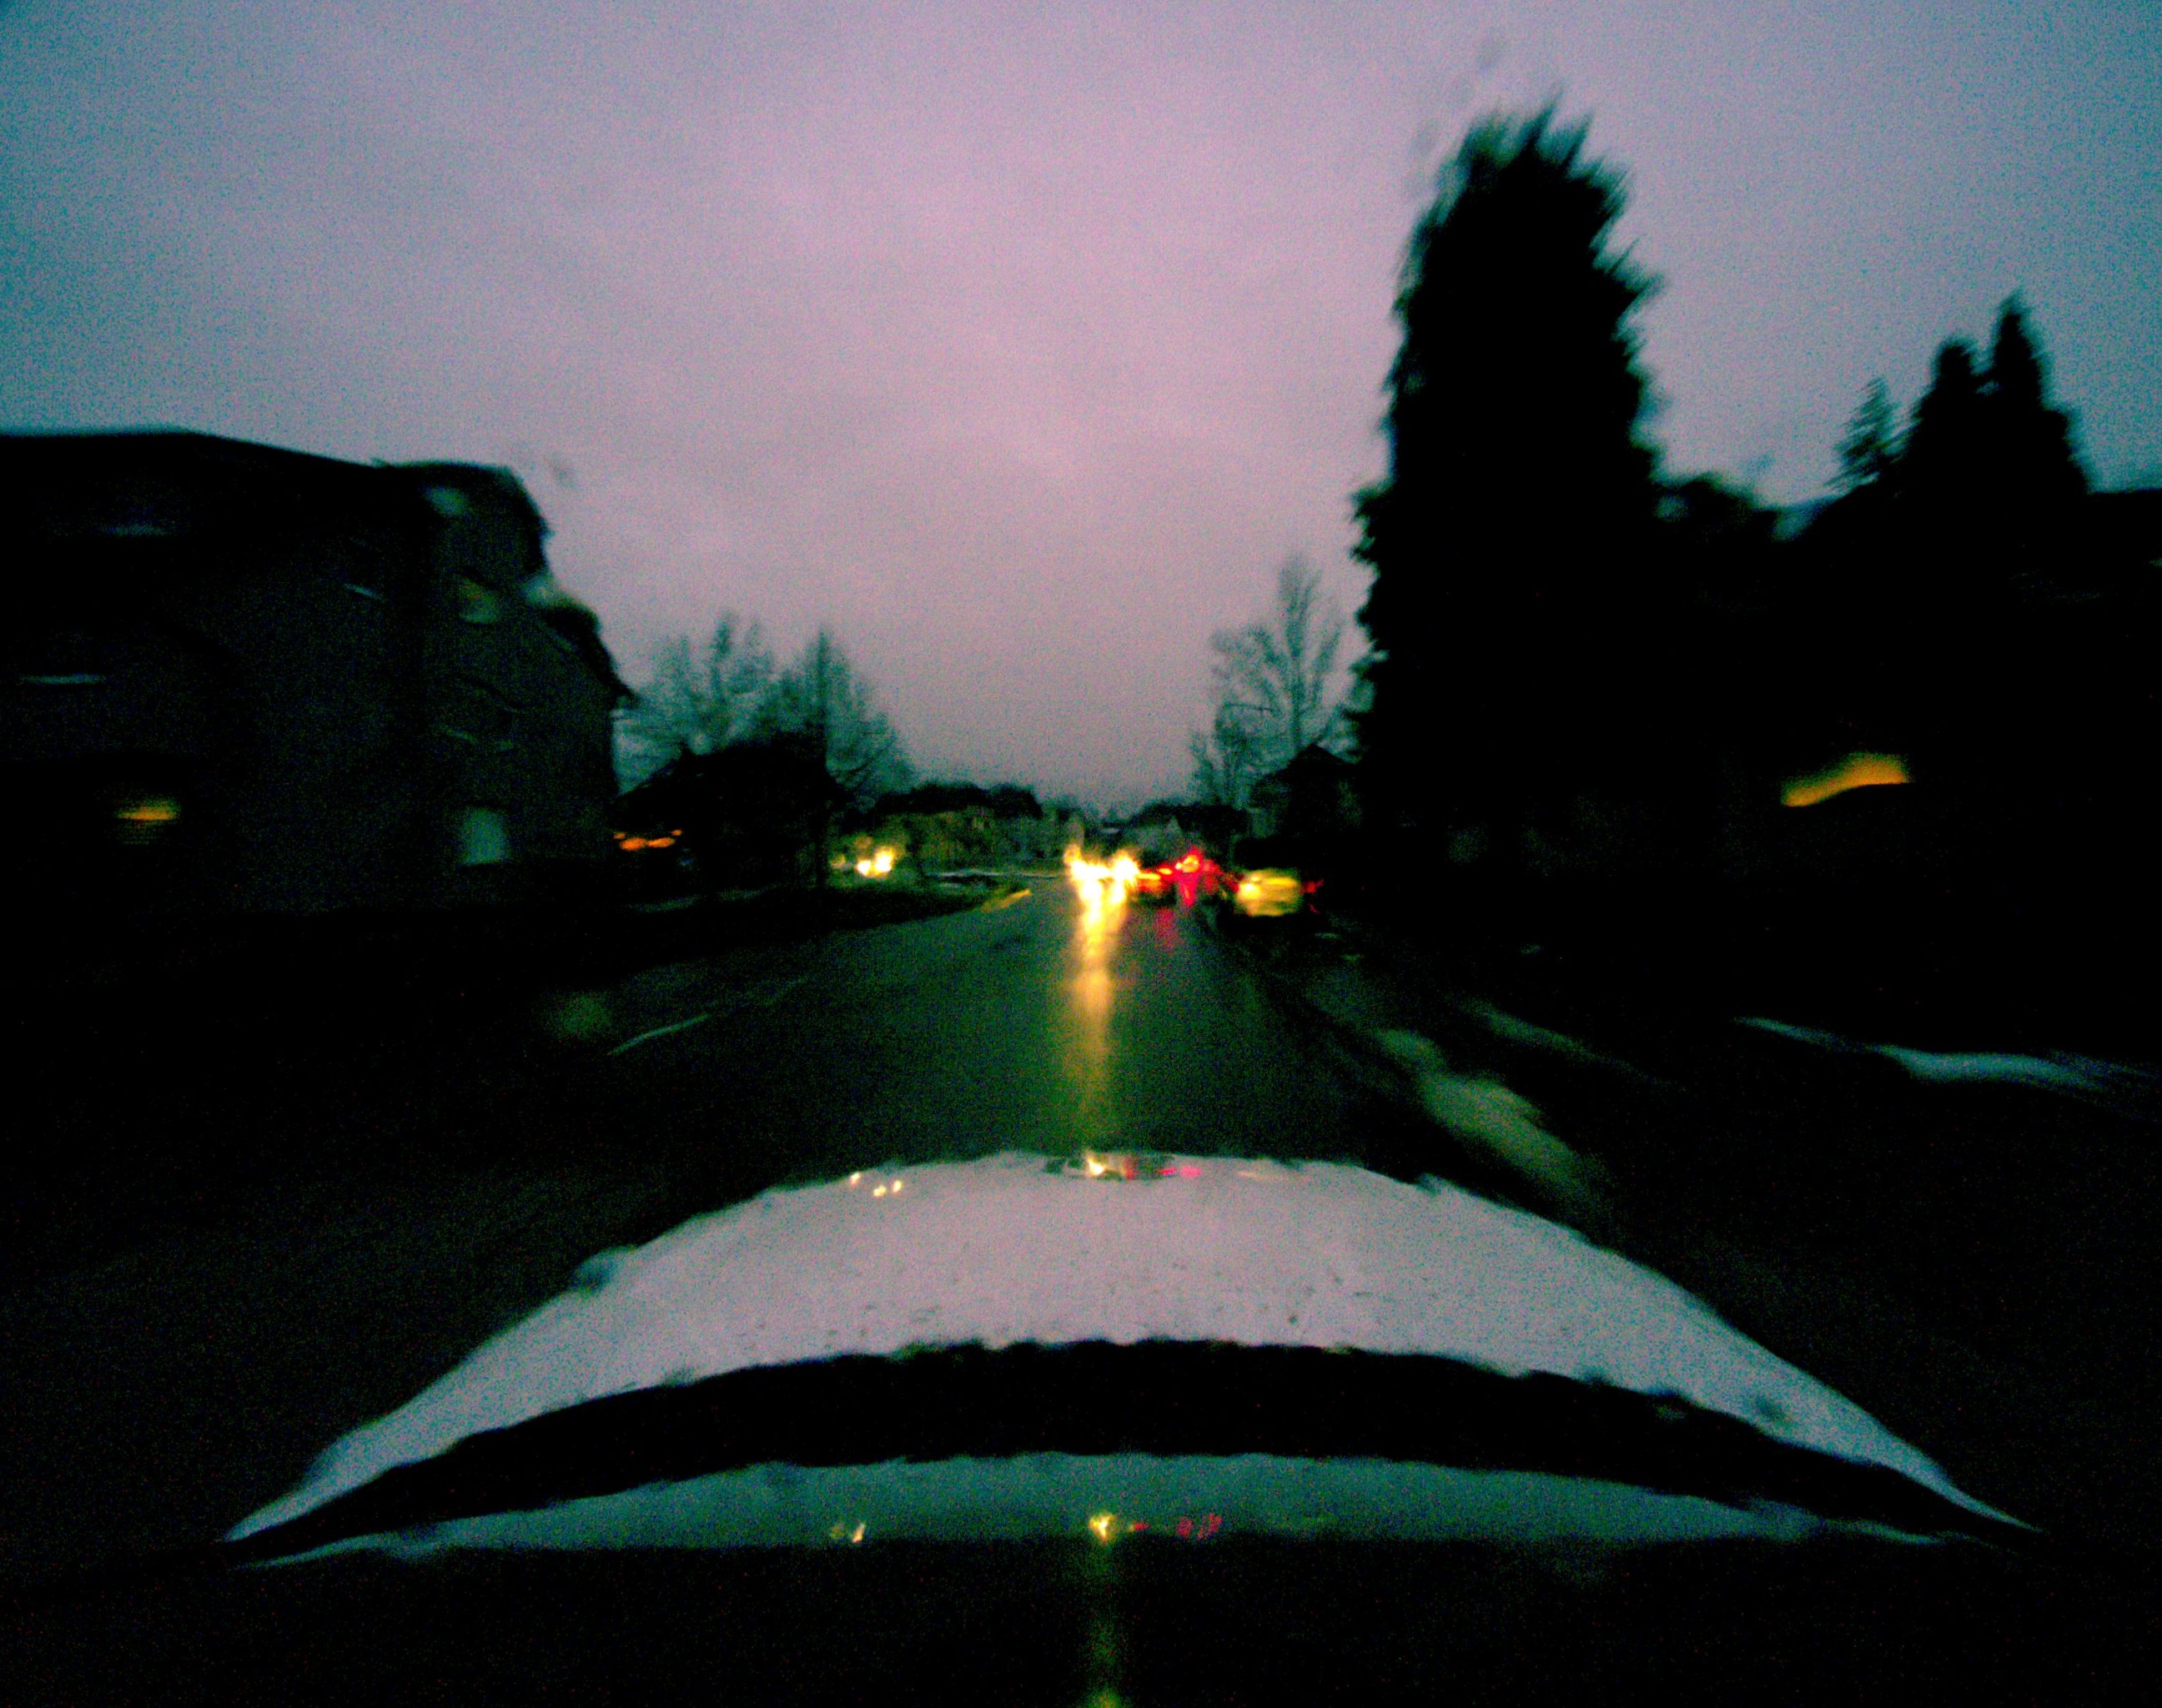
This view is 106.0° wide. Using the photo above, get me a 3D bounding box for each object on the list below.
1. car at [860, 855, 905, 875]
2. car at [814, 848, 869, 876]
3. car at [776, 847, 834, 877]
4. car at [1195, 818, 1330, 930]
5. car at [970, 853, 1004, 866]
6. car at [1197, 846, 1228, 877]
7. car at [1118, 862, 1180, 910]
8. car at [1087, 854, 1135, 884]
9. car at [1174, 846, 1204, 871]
[{"bbox_3d":[-14.725,0.785,60.759,1.378,1.437,4.353,0,1,14],"label":"car"},{"bbox_3d":[-18.146,0.567,61.888,1.978,2.013,4.241,0,1,16],"label":"car"},{"bbox_3d":[-19.384,0.531,57.342,1.903,2.013,4.017,0,1,16],"label":"car"},{"bbox_3d":[3.842,0.364,18.306,1.969,2.013,5.751,-3,0,3],"label":"car"},{"bbox_3d":[-10.049,0.593,87.114,1.977,1.307,4.132,1,0,19],"label":"car"},{"bbox_3d":[8.578,0.450,52.898,1.733,1.785,4.350,-3,0,11],"label":"car"},{"bbox_3d":[2.316,1.062,28.638,1.985,1.525,4.003,-1,0,3],"label":"car"},{"bbox_3d":[1.731,0.796,45.510,1.894,1.488,4.583,-1,0,12],"label":"car"},{"bbox_3d":[9.127,0.413,68.605,1.979,2.014,4.015,-1,-1,15],"label":"car"}]
